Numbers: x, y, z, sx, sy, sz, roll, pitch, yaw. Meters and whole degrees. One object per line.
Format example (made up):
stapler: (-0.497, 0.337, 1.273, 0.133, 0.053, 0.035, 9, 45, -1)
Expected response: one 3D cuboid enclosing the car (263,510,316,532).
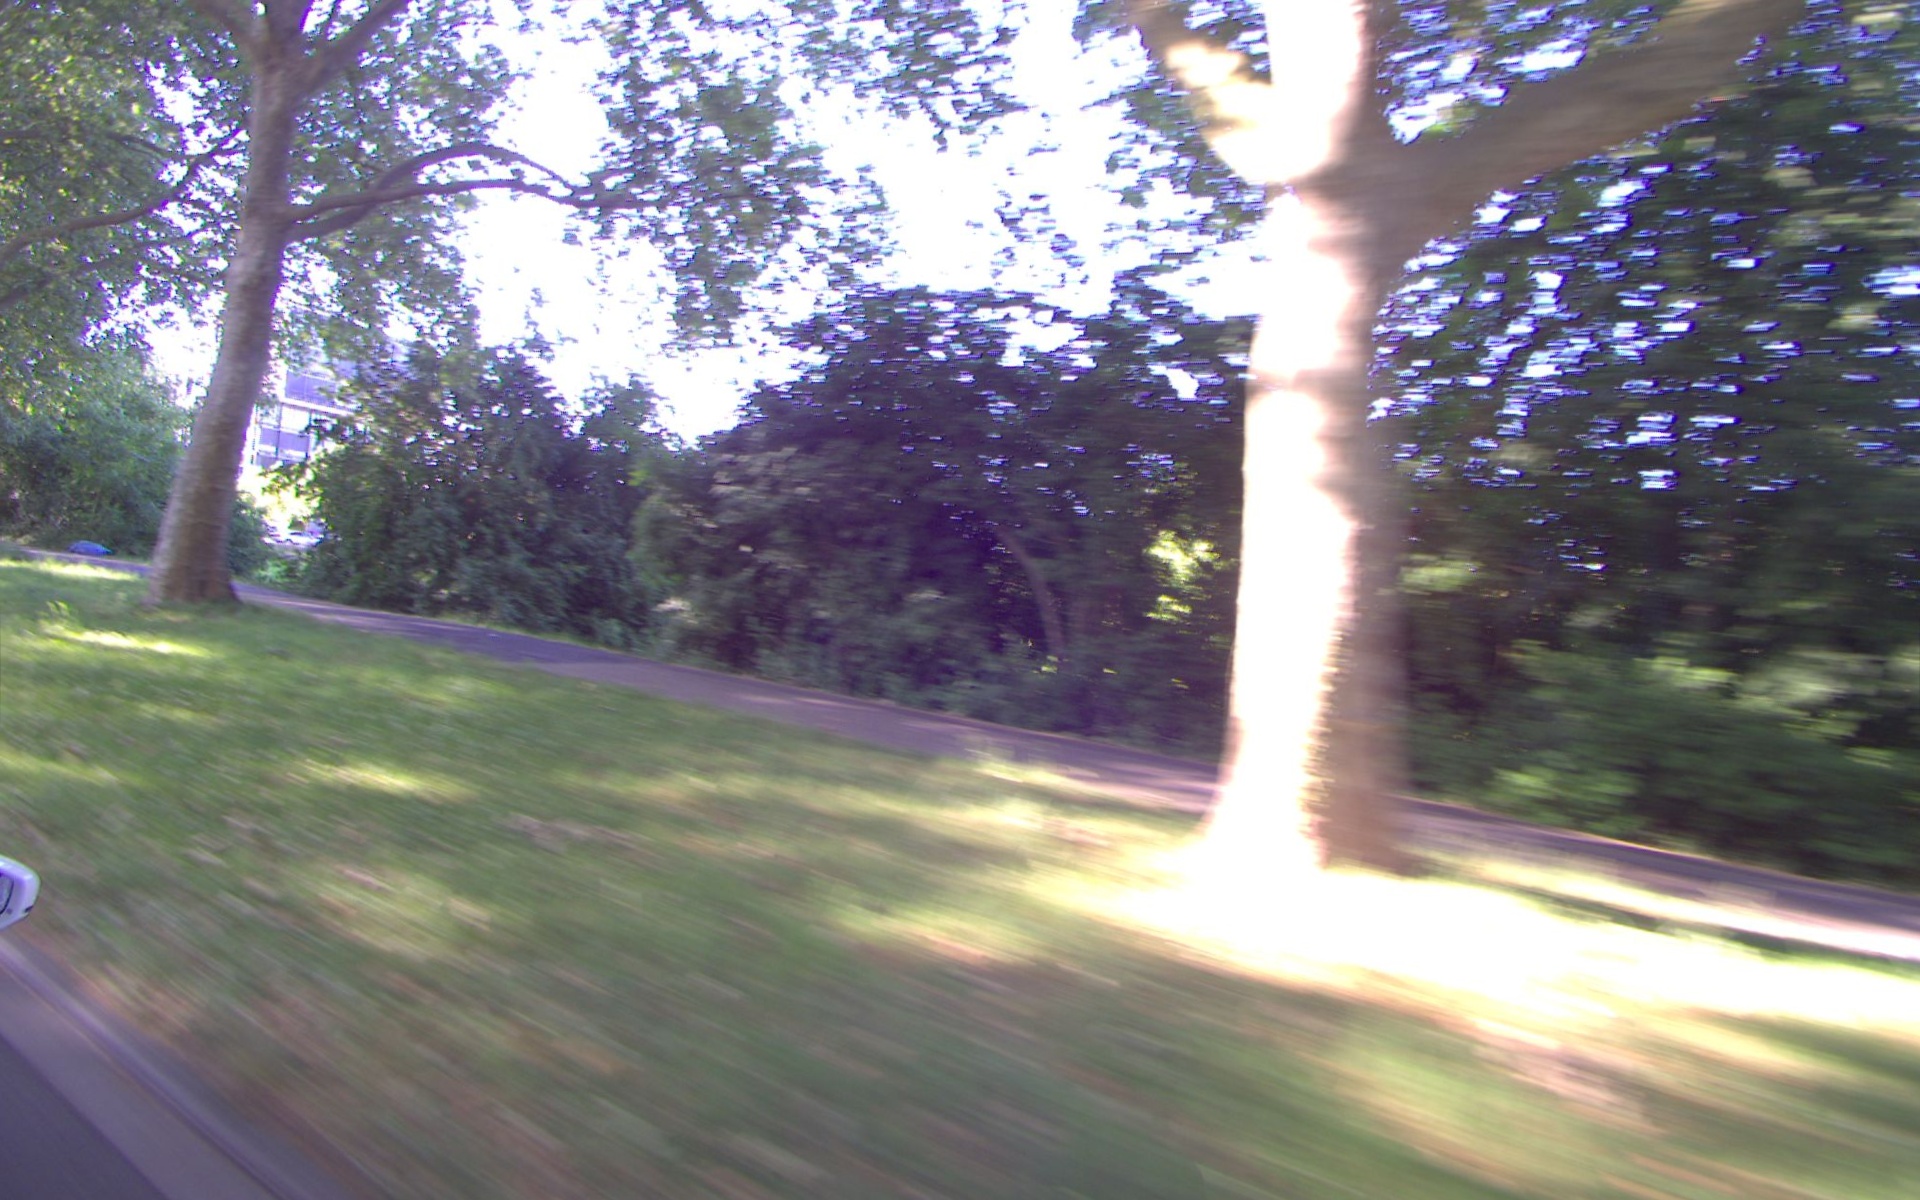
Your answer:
car: (-67.997, -8.008, 102.079, 1.833, 1.586, 3.992, 7, -1, 32)
